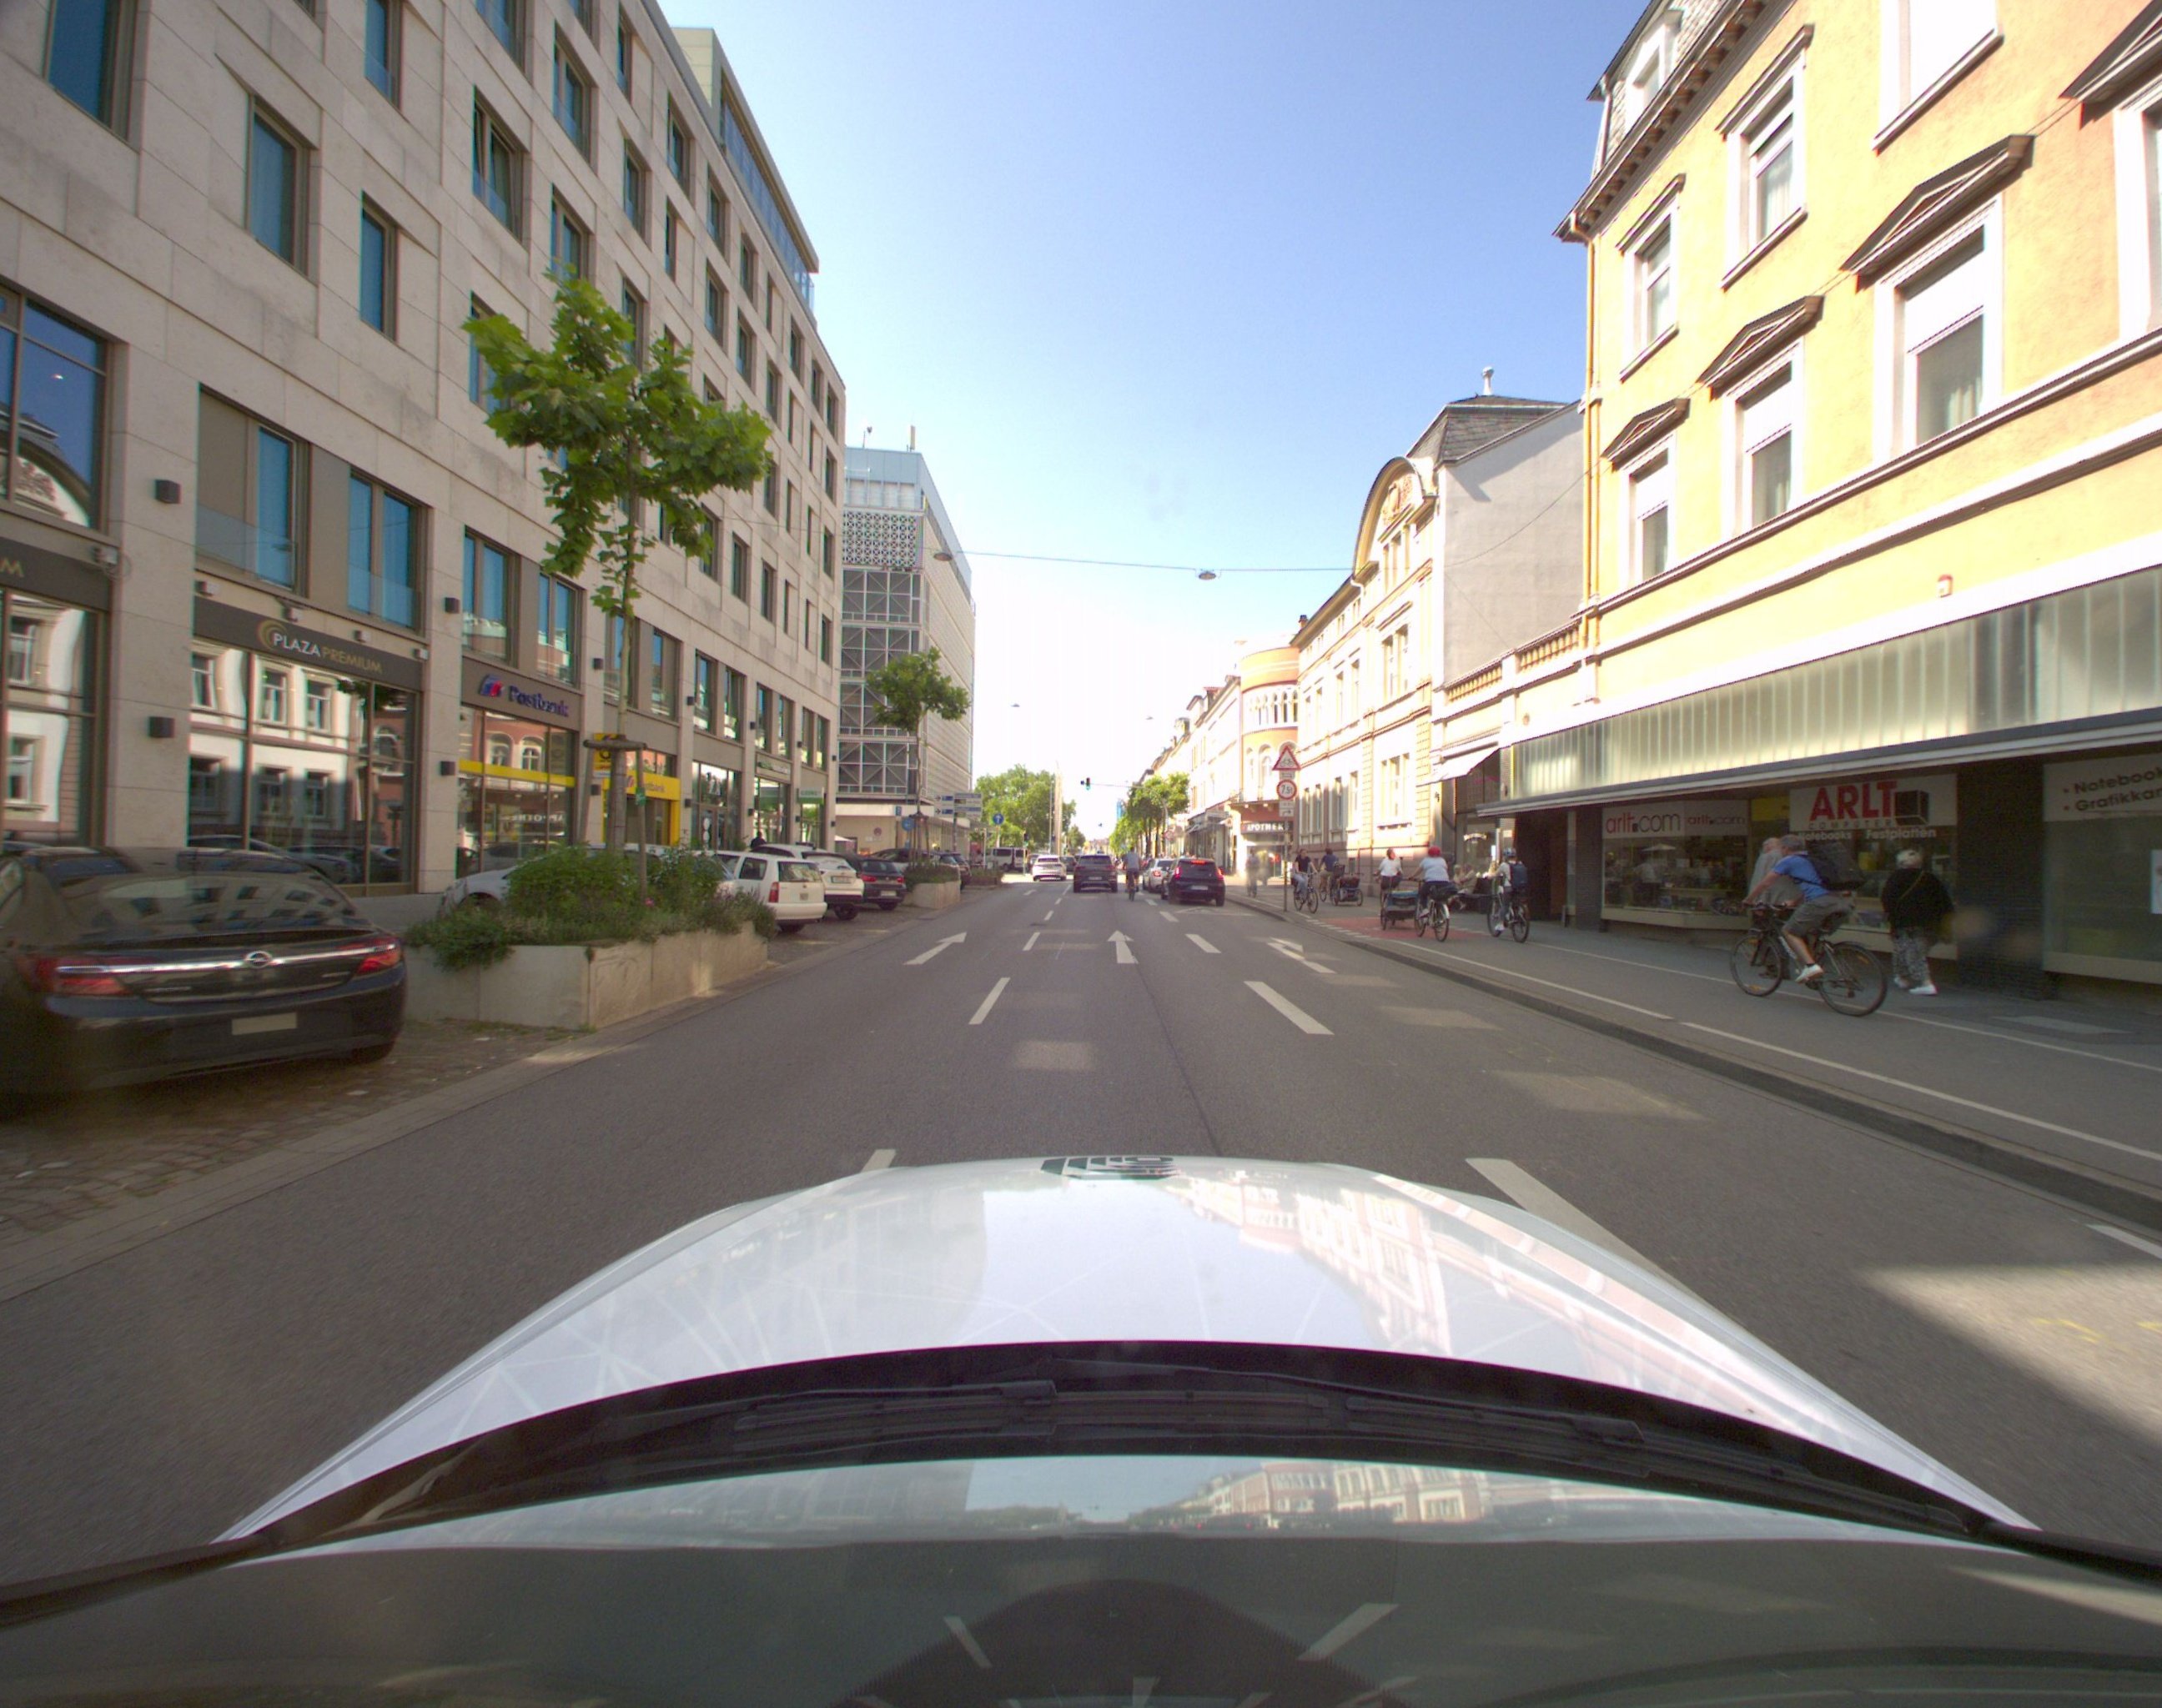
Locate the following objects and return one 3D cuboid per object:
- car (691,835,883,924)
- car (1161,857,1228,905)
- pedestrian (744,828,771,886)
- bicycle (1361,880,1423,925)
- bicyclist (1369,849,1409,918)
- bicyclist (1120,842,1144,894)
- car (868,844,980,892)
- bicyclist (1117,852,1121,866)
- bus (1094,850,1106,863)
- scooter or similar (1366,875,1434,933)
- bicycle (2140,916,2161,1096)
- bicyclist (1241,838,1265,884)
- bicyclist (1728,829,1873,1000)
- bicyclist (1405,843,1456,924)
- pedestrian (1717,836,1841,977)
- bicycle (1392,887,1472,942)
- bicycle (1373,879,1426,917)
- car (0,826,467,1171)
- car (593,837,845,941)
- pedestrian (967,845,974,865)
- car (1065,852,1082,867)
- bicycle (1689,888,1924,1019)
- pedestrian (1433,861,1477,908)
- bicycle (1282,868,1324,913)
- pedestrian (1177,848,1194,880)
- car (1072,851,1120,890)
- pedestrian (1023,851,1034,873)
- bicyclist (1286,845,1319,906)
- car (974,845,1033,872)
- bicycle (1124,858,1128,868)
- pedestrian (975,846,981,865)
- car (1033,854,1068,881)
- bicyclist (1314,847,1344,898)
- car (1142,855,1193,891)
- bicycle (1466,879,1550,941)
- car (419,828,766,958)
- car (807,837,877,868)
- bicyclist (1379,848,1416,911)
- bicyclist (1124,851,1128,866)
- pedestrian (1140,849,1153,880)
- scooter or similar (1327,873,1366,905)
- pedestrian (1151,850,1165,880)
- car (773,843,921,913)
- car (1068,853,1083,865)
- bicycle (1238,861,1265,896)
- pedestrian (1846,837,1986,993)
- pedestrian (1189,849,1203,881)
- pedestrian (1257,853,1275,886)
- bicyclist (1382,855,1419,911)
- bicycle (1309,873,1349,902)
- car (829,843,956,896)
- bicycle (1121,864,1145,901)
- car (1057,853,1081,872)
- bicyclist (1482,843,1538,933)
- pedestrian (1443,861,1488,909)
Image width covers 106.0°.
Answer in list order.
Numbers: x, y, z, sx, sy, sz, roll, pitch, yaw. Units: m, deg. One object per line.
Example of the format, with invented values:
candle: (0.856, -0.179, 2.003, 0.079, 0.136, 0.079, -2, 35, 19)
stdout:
car: (-6.720, 0.544, 18.576, 3.952, 1.568, 1.709, 5, 0, 25)
car: (3.691, 0.847, 26.926, 1.815, 1.409, 3.187, 3, 0, 2)
pedestrian: (-11.355, 0.112, 28.598, 0.621, 2.013, 0.701, 0, 0, 1)
bicycle: (7.296, 1.109, 19.237, 0.644, 0.879, 2.390, -1, 0, 3)
bicyclist: (7.301, 0.679, 19.315, 0.629, 1.595, 0.921, 0, -1, 2)
bicyclist: (1.711, 0.452, 27.199, 0.692, 1.673, 0.916, 3, 1, 2)
car: (-6.174, 0.540, 32.328, 3.976, 1.545, 1.716, 5, 0, -2)
bicyclist: (4.268, 0.550, 90.658, 0.418, 1.630, 0.669, 0, 0, 2)
bus: (5.297, 0.573, 230.104, 2.763, 3.605, 8.965, 0, 0, -2)
scooter or similar: (6.859, 1.055, 17.600, 0.867, 1.122, 1.622, -1, 0, 2)
bicycle: (7.035, 0.963, 4.168, 0.553, 1.120, 2.073, -1, 0, 1)
bicyclist: (6.426, 0.256, 30.436, 0.692, 1.673, 0.836, 3, 0, 2)
bicyclist: (7.497, 0.592, 8.539, 0.644, 1.684, 1.013, 0, 0, 2)
bicyclist: (6.569, 0.542, 15.332, 0.622, 1.476, 0.890, 0, 0, 2)
pedestrian: (8.811, 0.636, 10.324, 0.874, 1.718, 0.836, 0, 0, 4)
bicycle: (6.579, 1.110, 15.388, 0.644, 0.879, 2.104, -2, -1, 3)
bicycle: (8.187, 1.121, 21.015, 0.644, 0.879, 2.104, 0, 0, 3)
car: (-6.427, 0.651, 5.702, 4.300, 1.513, 1.844, 3, 0, 31)
car: (-6.646, 0.592, 15.047, 3.956, 1.490, 1.791, 4, 0, 18)
pedestrian: (-11.372, 0.129, 83.725, 0.623, 2.013, 0.571, 0, 0, -5)
car: (-0.730, 0.537, 82.909, 1.737, 1.441, 4.000, 0, 0, 0)
bicycle: (7.441, 0.955, 8.520, 0.644, 1.120, 2.104, 0, 0, 2)
pedestrian: (10.429, 0.852, 22.724, 0.931, 1.269, 0.568, -2, 0, 6)
bicycle: (6.159, 0.993, 22.677, 0.553, 1.120, 2.244, 2, 1, 1)
pedestrian: (5.970, 0.575, 46.444, 0.657, 1.809, 0.721, 0, 0, -35)
car: (0.612, 0.681, 33.623, 1.827, 1.527, 4.000, 1, -1, 1)
pedestrian: (-3.836, 0.603, 59.420, 0.615, 1.615, 0.545, 2, -2, -29)
bicyclist: (6.198, 0.598, 22.824, 0.692, 1.674, 0.835, 0, -3, 2)
car: (-6.318, 0.375, 65.774, 4.664, 2.004, 1.953, 1, -3, 41)
bicycle: (4.914, 0.994, 88.687, 0.418, 1.135, 1.911, 0, 0, 3)
pedestrian: (-10.615, 0.137, 83.831, 0.623, 2.013, 0.571, 0, 0, -5)
car: (-1.718, 0.798, 46.754, 1.857, 1.441, 3.999, 0, -2, 0)
bicyclist: (8.051, 0.588, 26.443, 0.706, 1.595, 0.964, 0, 0, 2)
car: (3.530, 0.772, 34.008, 1.815, 1.385, 4.001, 1, 0, 2)
bicycle: (7.873, 1.005, 15.124, 0.561, 0.996, 2.104, 0, 0, 3)
car: (-7.095, 0.557, 12.183, 3.979, 1.500, 1.715, 5, 0, -4)
car: (-15.476, -0.084, 52.918, 3.978, 2.013, 1.932, 0, 0, -3)
bicyclist: (8.239, 0.647, 21.220, 0.655, 1.595, 0.921, 0, -1, 2)
bicyclist: (4.933, 0.440, 88.763, 0.418, 1.630, 0.709, 0, 0, 2)
pedestrian: (3.932, 0.634, 48.692, 0.722, 1.809, 0.656, 0, 0, 11)
scooter or similar: (8.057, 1.064, 24.785, 0.849, 0.919, 1.165, 0, 0, 2)
pedestrian: (4.688, 0.666, 49.585, 0.721, 1.809, 0.657, 0, 0, 18)
car: (-6.325, 0.622, 21.845, 3.950, 1.459, 1.680, 6, 0, 37)
car: (-0.619, 0.590, 97.223, 1.737, 1.441, 4.000, 0, 0, 0)
bicycle: (6.340, 0.901, 30.342, 0.553, 1.209, 2.244, 1, 0, 1)
pedestrian: (9.479, 0.662, 9.280, 0.644, 1.684, 0.945, 0, 0, 2)
pedestrian: (6.916, 0.678, 48.945, 0.706, 1.899, 1.154, 0, 0, 4)
pedestrian: (9.987, 0.829, 44.025, 0.789, 1.720, 0.728, 0, 0, -4)
bicyclist: (7.260, 0.655, 18.534, 0.621, 1.248, 0.608, 0, 0, 2)
bicycle: (8.034, 1.068, 26.425, 0.737, 0.879, 2.139, 0, 0, 3)
car: (-6.617, 0.536, 28.898, 3.976, 1.500, 1.716, 5, 0, -2)
bicycle: (1.725, 0.918, 27.326, 0.662, 1.120, 2.244, 3, 1, 1)
car: (-0.919, 0.673, 63.774, 1.737, 1.441, 4.000, 0, 0, 0)
bicyclist: (7.877, 0.604, 14.993, 0.580, 1.595, 0.921, 0, 0, 3)
pedestrian: (10.419, 0.833, 22.097, 0.931, 1.269, 0.568, -2, 0, 6)
